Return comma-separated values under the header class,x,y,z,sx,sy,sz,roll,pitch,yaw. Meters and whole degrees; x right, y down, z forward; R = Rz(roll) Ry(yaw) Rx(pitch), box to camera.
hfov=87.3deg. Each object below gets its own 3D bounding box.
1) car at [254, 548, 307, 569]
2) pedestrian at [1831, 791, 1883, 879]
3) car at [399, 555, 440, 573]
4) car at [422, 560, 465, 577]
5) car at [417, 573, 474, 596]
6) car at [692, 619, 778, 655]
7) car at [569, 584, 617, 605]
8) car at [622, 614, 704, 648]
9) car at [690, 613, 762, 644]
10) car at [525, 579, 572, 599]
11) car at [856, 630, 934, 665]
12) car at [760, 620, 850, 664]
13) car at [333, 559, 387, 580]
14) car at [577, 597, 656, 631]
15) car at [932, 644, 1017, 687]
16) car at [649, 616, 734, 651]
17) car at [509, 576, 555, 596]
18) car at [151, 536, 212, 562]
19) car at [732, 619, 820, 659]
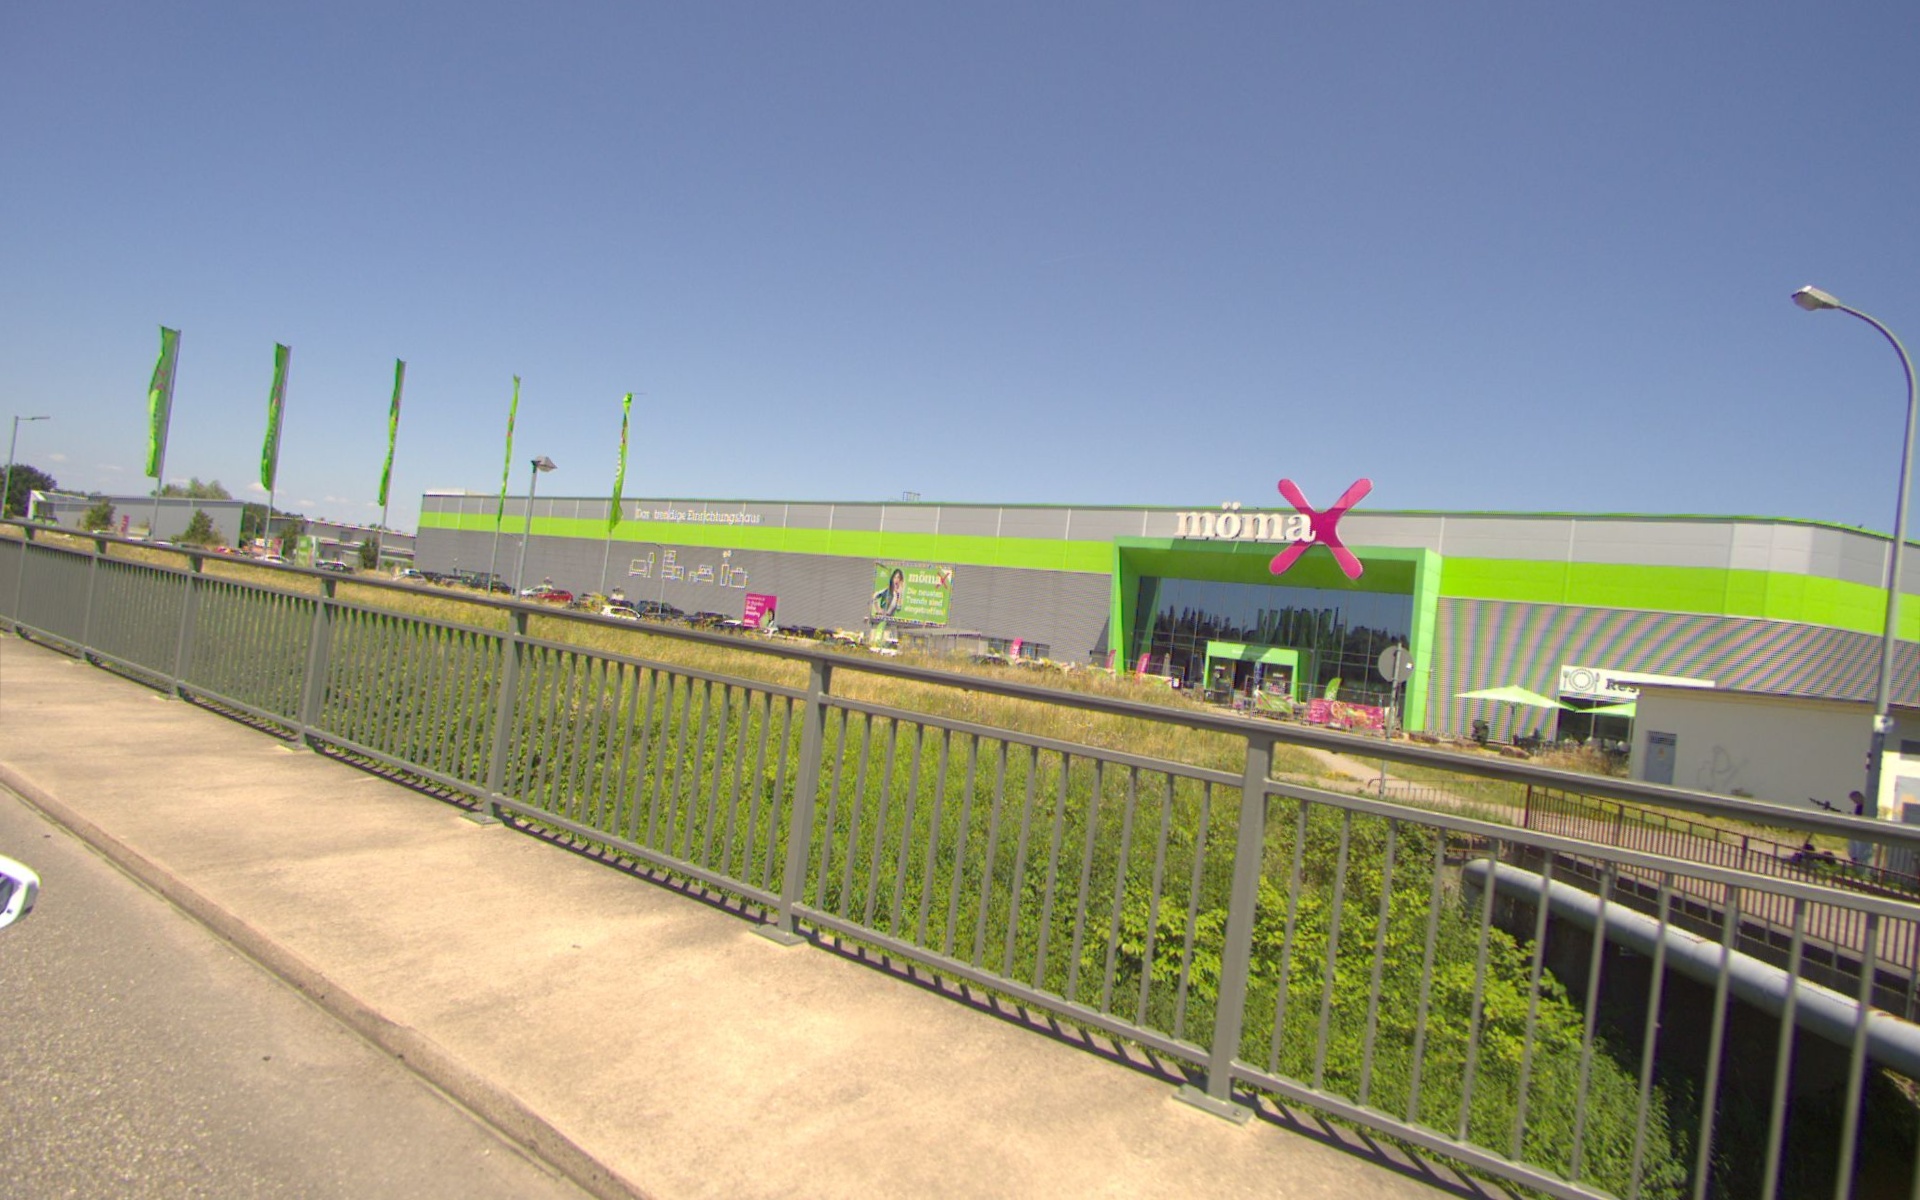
class,x,y,z,sx,sy,sz,roll,pitch,yaw
car,-68.509,-4.183,101.490,1.971,1.536,3.987,4,-4,39
pedestrian,17.311,4.525,19.425,0.406,1.555,0.439,9,-2,7
car,-67.318,-4.474,125.336,1.969,1.536,3.992,4,-3,34
car,-62.280,-3.774,121.306,1.969,1.536,3.992,4,-3,34
car,-46.569,-1.397,91.107,1.969,1.536,3.991,4,-3,35
car,-11.803,1.953,52.871,1.889,1.479,3.984,5,-3,40
car,-35.946,-0.531,98.582,1.969,1.536,3.992,4,-3,34
car,-16.710,1.754,56.757,1.920,1.479,3.984,5,-3,40
car,-14.703,1.799,63.401,1.920,1.522,3.984,5,-3,40
car,-42.753,-1.116,104.626,1.969,1.536,3.992,4,-3,34
car,-3.531,2.616,54.882,1.920,1.522,3.984,5,-3,40
car,-7.509,2.051,48.976,1.889,1.716,3.984,5,-3,40
car,-58.431,-2.954,97.974,1.968,1.536,3.993,4,-3,34
car,-20.544,0.845,60.248,1.920,1.549,3.984,5,-3,40
car,0.726,3.172,48.595,1.889,1.673,3.984,5,-3,40
car,-14.522,1.825,54.613,1.920,1.479,3.984,5,-3,40
car,-45.267,-1.477,106.410,1.969,1.491,3.992,4,-3,34
car,-67.444,-4.410,87.193,1.864,1.588,3.735,6,-3,40
car,-9.274,1.989,50.996,1.889,1.565,3.984,5,-3,40
